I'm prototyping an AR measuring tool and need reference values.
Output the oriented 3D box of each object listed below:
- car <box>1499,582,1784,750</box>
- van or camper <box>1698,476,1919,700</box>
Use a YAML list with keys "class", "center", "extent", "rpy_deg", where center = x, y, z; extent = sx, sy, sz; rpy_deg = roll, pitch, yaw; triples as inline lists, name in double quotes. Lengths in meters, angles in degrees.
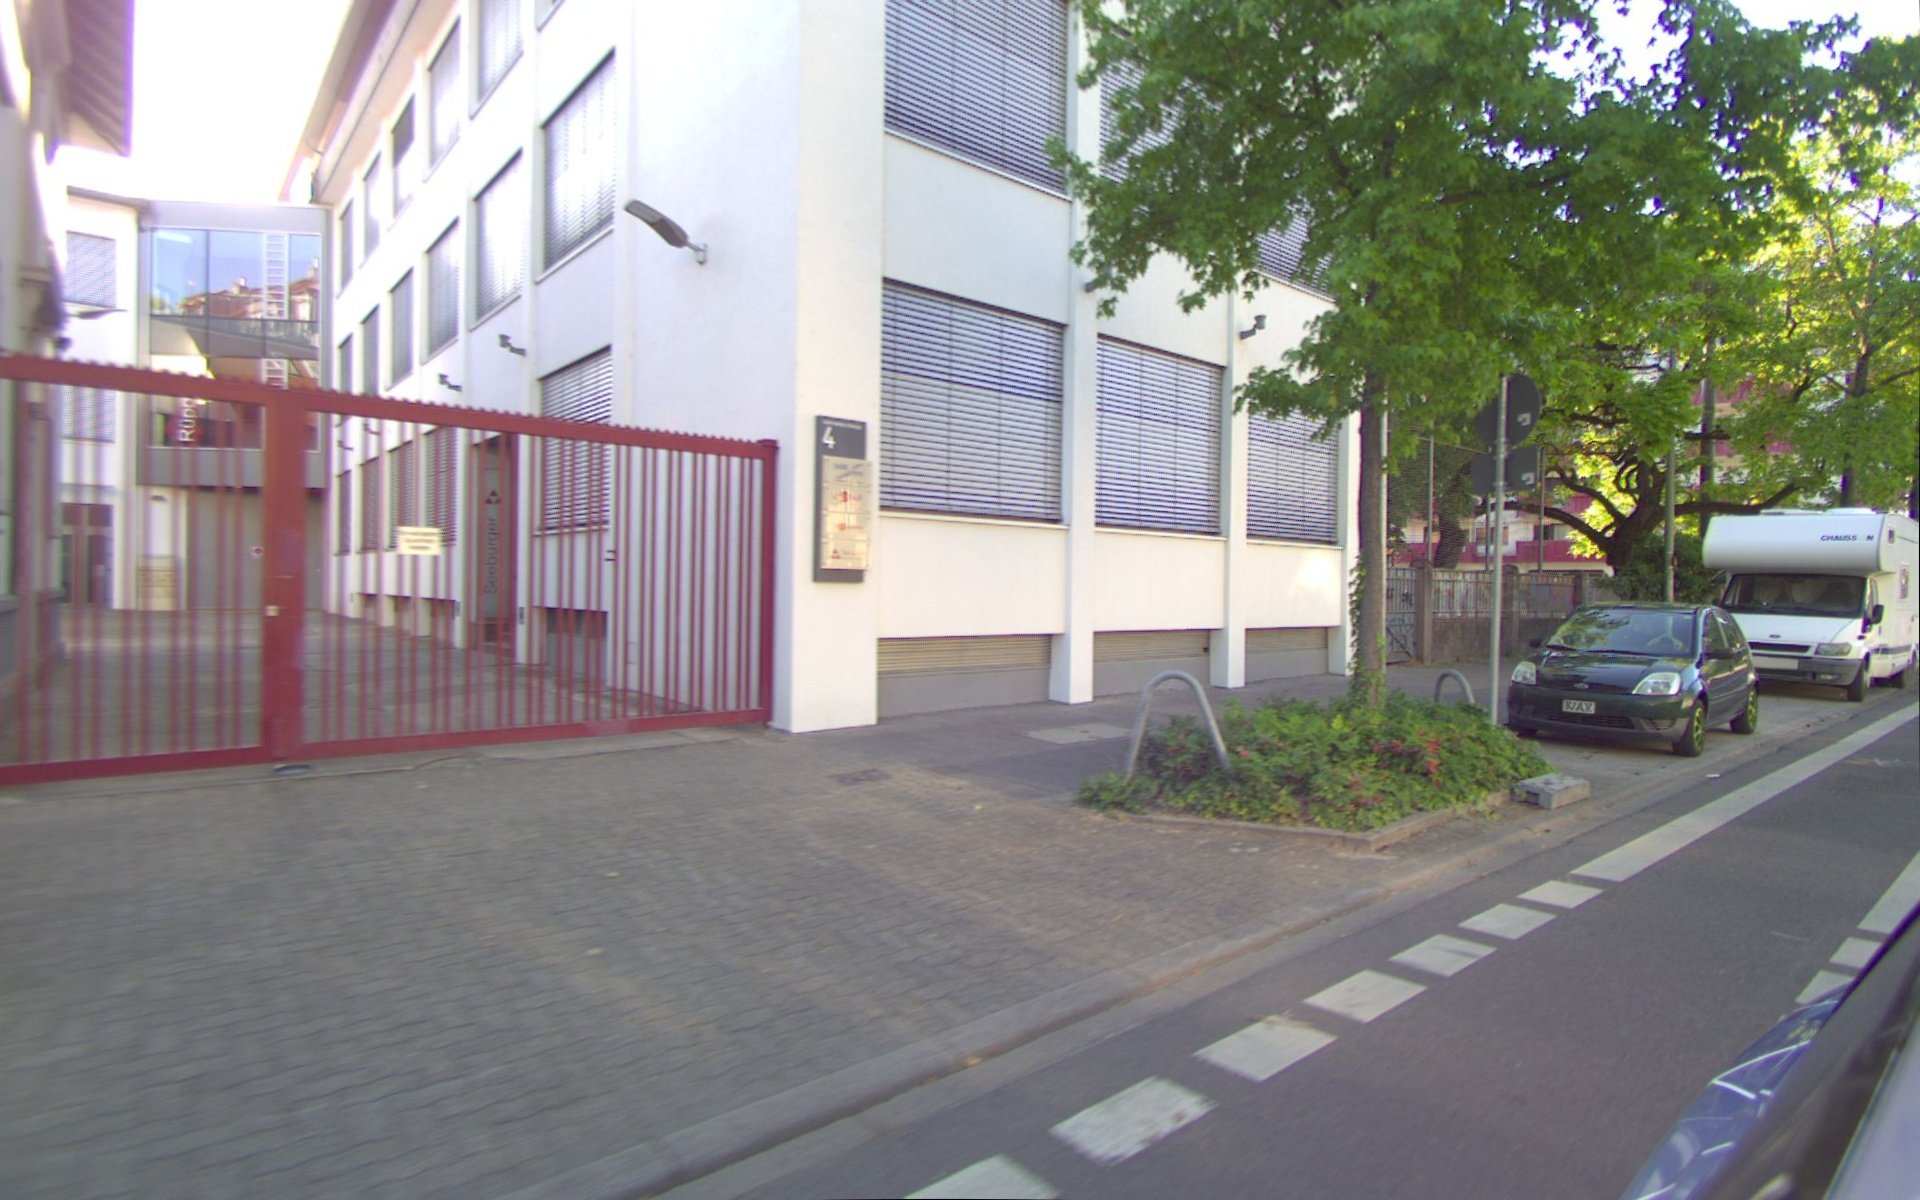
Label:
- class: "car"
  center: [7.438, 0.570, 10.921]
  extent: [3.735, 1.465, 1.655]
  rpy_deg: [0, 2, -42]
- class: "van or camper"
  center: [14.992, -0.223, 17.318]
  extent: [7.162, 3.131, 2.172]
  rpy_deg: [0, 2, -41]
